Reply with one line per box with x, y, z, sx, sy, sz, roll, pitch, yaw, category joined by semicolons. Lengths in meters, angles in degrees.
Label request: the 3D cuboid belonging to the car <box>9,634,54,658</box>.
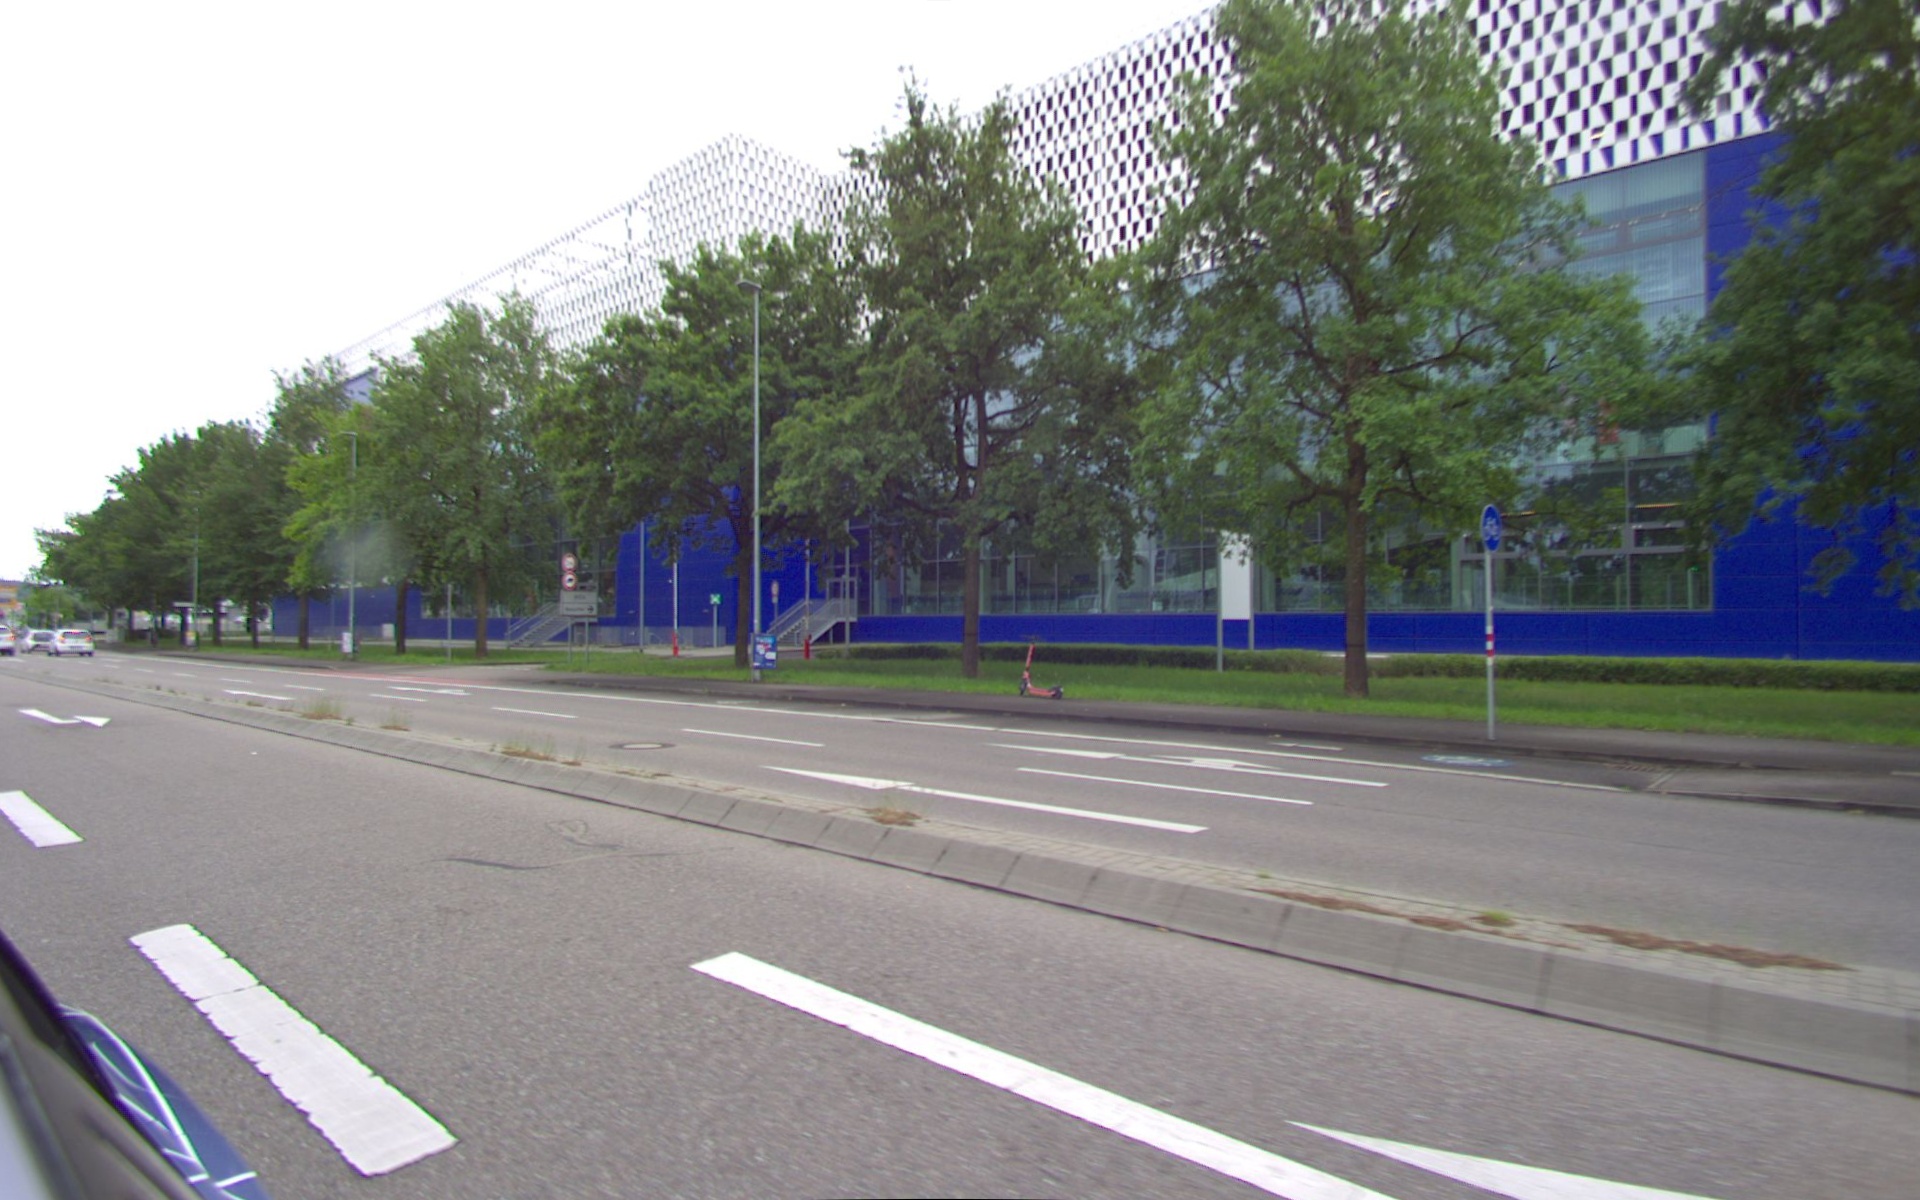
-57.994;2.854;63.187;3.609;1.434;1.607;-2;-4;41;car

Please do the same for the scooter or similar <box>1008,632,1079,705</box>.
1.584;1.292;19.441;0.441;1.332;1.508;1;-3;-39;scooter or similar

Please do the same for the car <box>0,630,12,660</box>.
-52.395;2.394;54.213;4.510;1.599;1.799;-2;-5;41;car

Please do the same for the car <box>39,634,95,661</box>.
-49.560;2.634;56.132;3.645;1.439;1.660;-2;-4;38;car
